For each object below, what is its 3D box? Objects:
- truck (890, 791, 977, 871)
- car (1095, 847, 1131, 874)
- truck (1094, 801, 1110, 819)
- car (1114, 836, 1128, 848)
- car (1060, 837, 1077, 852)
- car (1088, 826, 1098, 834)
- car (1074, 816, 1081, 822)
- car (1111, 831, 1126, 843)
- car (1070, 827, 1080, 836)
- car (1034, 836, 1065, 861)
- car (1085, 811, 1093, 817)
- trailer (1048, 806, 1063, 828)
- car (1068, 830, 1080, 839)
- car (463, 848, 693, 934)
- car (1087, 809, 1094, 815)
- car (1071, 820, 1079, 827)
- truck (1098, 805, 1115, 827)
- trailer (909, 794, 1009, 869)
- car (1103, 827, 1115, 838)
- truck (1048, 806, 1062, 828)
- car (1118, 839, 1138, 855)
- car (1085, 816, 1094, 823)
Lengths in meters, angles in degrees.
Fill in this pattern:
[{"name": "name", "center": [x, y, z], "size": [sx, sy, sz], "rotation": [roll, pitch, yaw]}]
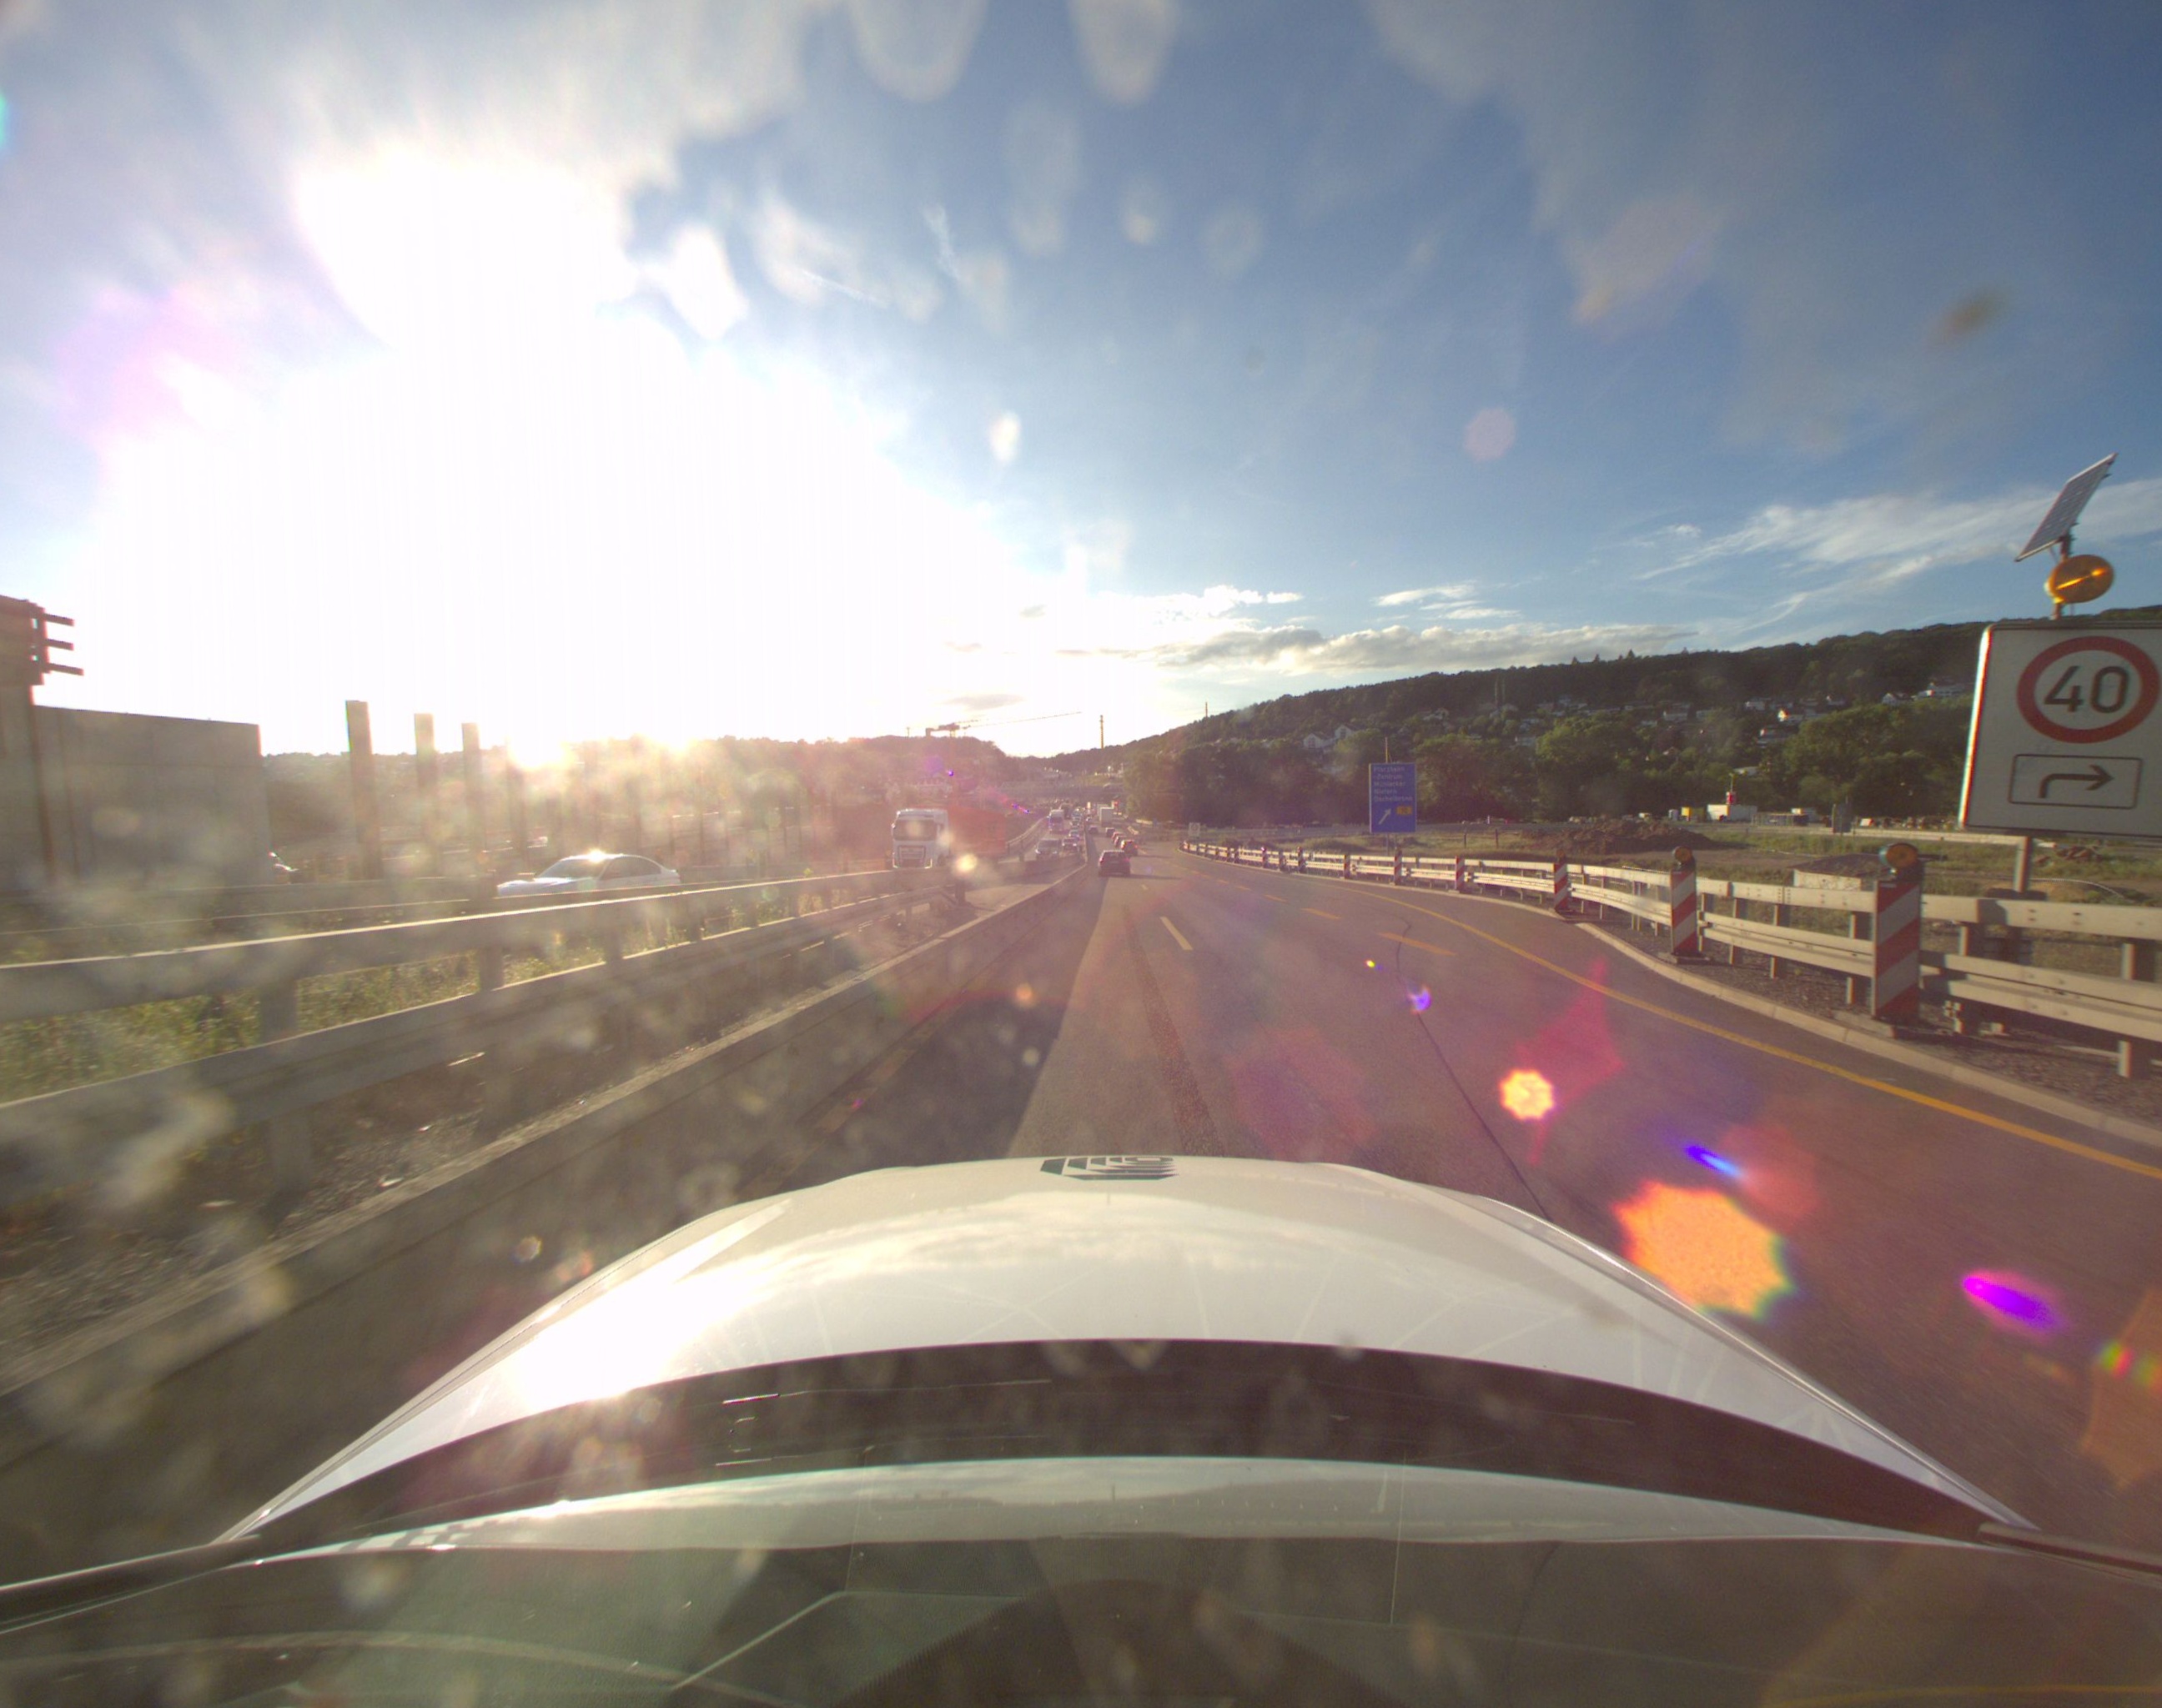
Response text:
[{"name": "truck", "center": [-8.817, -1.358, 49.923], "size": [2.569, 4.471, 8.354], "rotation": [1, 1, 9]}, {"name": "car", "center": [1.729, 0.315, 45.244], "size": [1.765, 1.390, 3.998], "rotation": [0, 1, -2]}, {"name": "truck", "center": [5.494, -11.659, 213.952], "size": [3.878, 4.496, 15.272], "rotation": [0, 5, 0]}, {"name": "car", "center": [5.233, -1.615, 107.660], "size": [1.768, 1.586, 4.136], "rotation": [1, 1, 1]}, {"name": "car", "center": [-1.408, -1.145, 95.564], "size": [1.782, 1.619, 4.875], "rotation": [1, 1, 1]}, {"name": "car", "center": [2.249, -4.417, 151.916], "size": [1.856, 1.419, 4.001], "rotation": [0, 3, 1]}, {"name": "car", "center": [-0.834, -8.448, 198.398], "size": [1.710, 1.409, 4.328], "rotation": [0, 3, 0]}, {"name": "car", "center": [5.623, -2.603, 122.416], "size": [1.870, 1.599, 4.965], "rotation": [0, 3, -1]}, {"name": "car", "center": [-1.103, -4.190, 150.815], "size": [1.843, 1.483, 4.512], "rotation": [-1, 2, 1]}, {"name": "car", "center": [-2.660, -0.507, 69.651], "size": [1.984, 2.013, 5.265], "rotation": [1, 1, 5]}, {"name": "car", "center": [2.174, -10.799, 219.417], "size": [1.917, 1.551, 4.001], "rotation": [0, 2, 1]}, {"name": "trailer", "center": [-5.045, -7.370, 162.869], "size": [2.523, 4.212, 13.931], "rotation": [1, 2, -1]}, {"name": "car", "center": [-1.096, -3.221, 132.995], "size": [1.782, 1.488, 4.221], "rotation": [1, 1, 1]}, {"name": "car", "center": [-10.544, 0.670, 17.582], "size": [1.721, 1.600, 4.669], "rotation": [0, 1, 6]}, {"name": "car", "center": [2.792, -12.267, 237.500], "size": [1.917, 1.551, 4.001], "rotation": [0, 2, 1]}, {"name": "car", "center": [-1.334, -6.655, 178.813], "size": [1.830, 1.409, 4.496], "rotation": [0, 3, 0]}, {"name": "truck", "center": [5.623, -8.720, 183.214], "size": [3.374, 4.496, 15.273], "rotation": [0, 4, 0]}, {"name": "trailer", "center": [-7.909, -1.453, 55.713], "size": [2.569, 4.470, 14.172], "rotation": [1, 1, 9]}, {"name": "car", "center": [4.853, -3.737, 139.960], "size": [1.809, 1.631, 4.411], "rotation": [0, 4, -1]}, {"name": "truck", "center": [-4.961, -7.104, 156.348], "size": [2.545, 4.220, 6.050], "rotation": [1, 2, 0]}, {"name": "car", "center": [4.860, -0.731, 84.817], "size": [1.807, 1.615, 4.524], "rotation": [0, 1, -1]}, {"name": "car", "center": [2.021, -8.246, 193.641], "size": [1.917, 1.552, 4.000], "rotation": [0, 1, 1]}]
